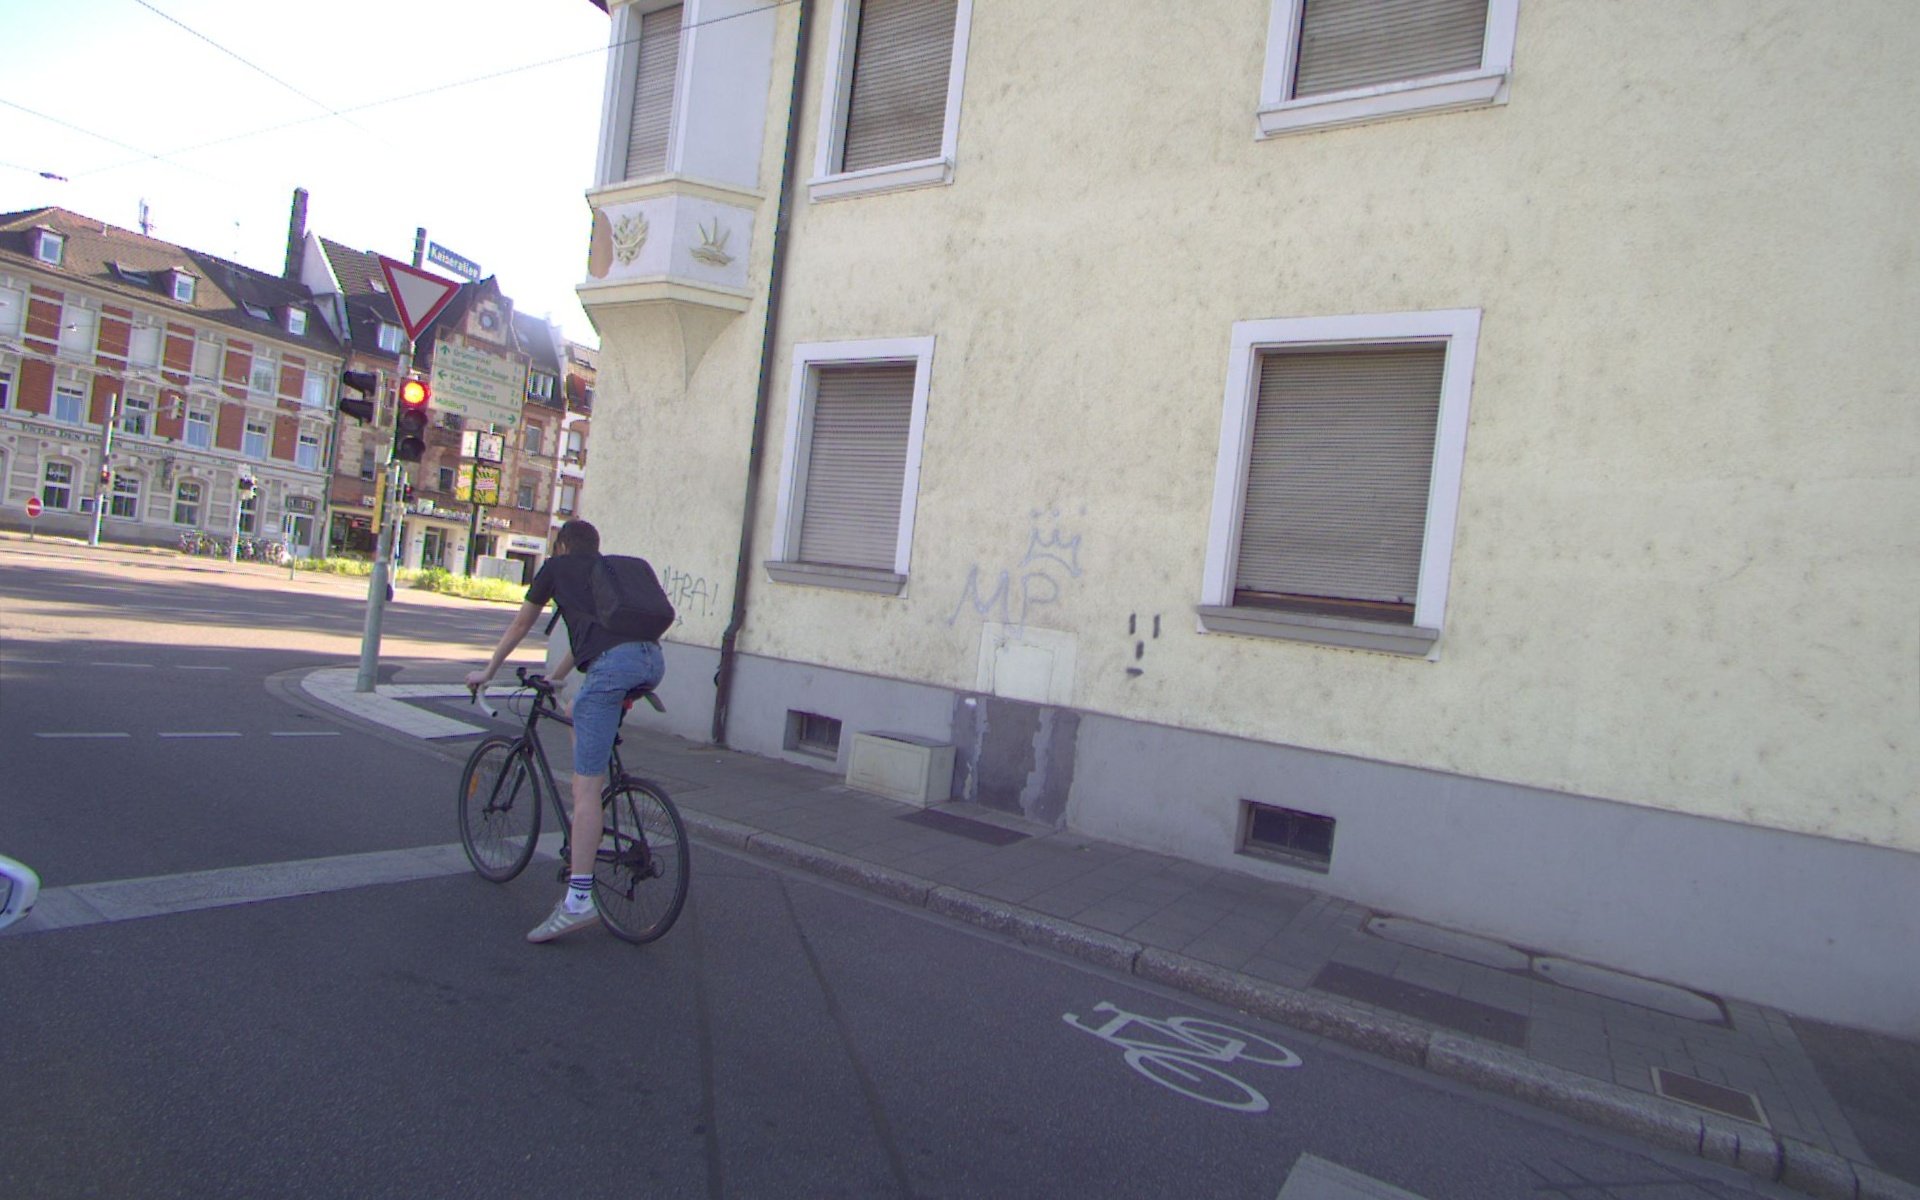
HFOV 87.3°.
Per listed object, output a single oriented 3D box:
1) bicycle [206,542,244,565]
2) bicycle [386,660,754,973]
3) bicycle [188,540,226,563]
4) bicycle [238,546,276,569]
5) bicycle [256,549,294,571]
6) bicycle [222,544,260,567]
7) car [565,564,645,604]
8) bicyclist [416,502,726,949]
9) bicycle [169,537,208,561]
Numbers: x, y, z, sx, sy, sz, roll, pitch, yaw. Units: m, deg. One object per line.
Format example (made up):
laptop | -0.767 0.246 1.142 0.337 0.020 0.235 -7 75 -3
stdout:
bicycle | -34.185 -2.161 46.775 2.125 0.850 0.659 6 -2 33
bicycle | -1.794 0.876 4.517 1.721 0.982 0.519 7 0 32
bicycle | -34.558 -2.235 46.153 2.125 0.850 0.659 6 -2 33
bicycle | -33.495 -2.025 47.902 2.125 0.850 0.659 6 -2 33
bicycle | -33.107 -1.946 48.606 2.125 0.850 0.659 6 -2 33
bicycle | -33.851 -2.093 47.371 2.125 0.850 0.659 6 -2 33
car | -23.018 -1.005 65.333 1.968 2.038 4.430 7 -1 34
bicyclist | -1.746 0.492 4.497 1.098 1.722 0.573 7 0 32
bicycle | -34.874 -2.303 45.486 2.125 0.850 0.659 6 -2 33
